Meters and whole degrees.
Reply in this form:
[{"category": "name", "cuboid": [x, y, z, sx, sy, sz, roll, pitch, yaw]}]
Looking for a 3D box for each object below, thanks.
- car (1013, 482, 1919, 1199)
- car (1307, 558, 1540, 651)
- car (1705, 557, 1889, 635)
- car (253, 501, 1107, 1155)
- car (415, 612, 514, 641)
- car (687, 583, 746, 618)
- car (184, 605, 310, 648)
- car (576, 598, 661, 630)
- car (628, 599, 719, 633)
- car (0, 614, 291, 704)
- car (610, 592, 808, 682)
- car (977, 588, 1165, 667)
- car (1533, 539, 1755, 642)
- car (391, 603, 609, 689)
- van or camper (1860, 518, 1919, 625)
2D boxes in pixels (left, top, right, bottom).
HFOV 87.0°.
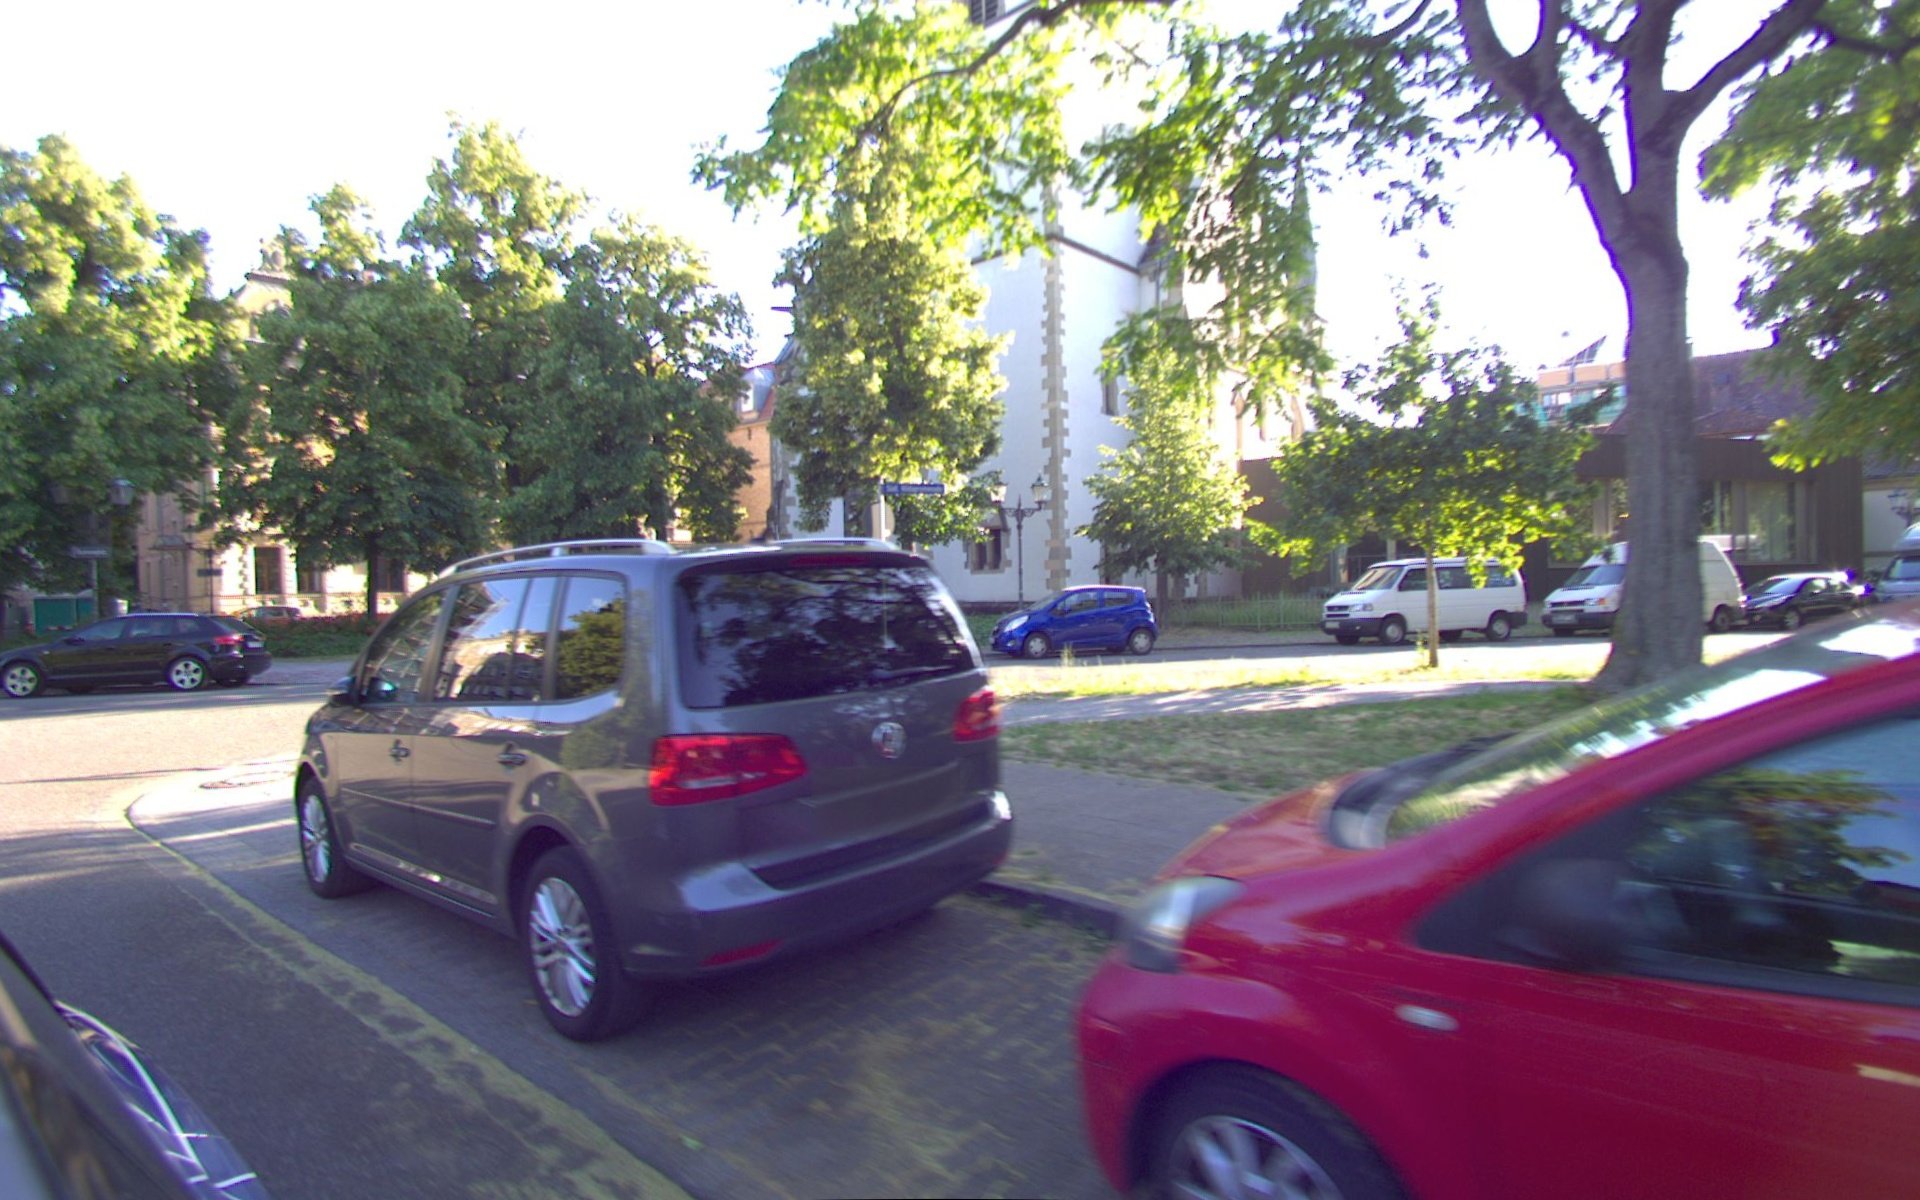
[{"category": "car", "cuboid": [1.856, 0.536, 1.494, 3.426, 1.434, 1.373, -1, 2, 43]}, {"category": "car", "cuboid": [10.837, 0.078, 23.748, 4.760, 1.961, 1.862, -2, 0, -13]}, {"category": "car", "cuboid": [22.284, -0.122, 26.972, 4.073, 1.900, 1.863, -2, 0, -19]}, {"category": "car", "cuboid": [-1.642, 0.574, 4.727, 4.320, 1.688, 1.782, -1, 2, 43]}, {"category": "car", "cuboid": [-25.222, 1.312, 51.606, 1.912, 1.287, 4.162, -1, 0, 41]}, {"category": "car", "cuboid": [-16.830, 0.054, 69.787, 4.218, 2.278, 1.866, -1, 0, 41]}, {"category": "car", "cuboid": [-31.158, 1.134, 44.295, 1.912, 1.668, 4.162, -1, 0, 41]}, {"category": "car", "cuboid": [-19.478, 0.766, 57.774, 1.999, 1.668, 4.162, -1, 0, 41]}, {"category": "car", "cuboid": [-14.779, 0.809, 52.377, 1.891, 1.668, 4.163, -1, 0, 41]}, {"category": "car", "cuboid": [-15.026, 1.049, 18.397, 4.421, 1.426, 1.835, -2, -2, -12]}, {"category": "car", "cuboid": [-4.967, 0.684, 20.193, 3.635, 1.591, 1.714, -2, 0, -13]}, {"category": "car", "cuboid": [2.360, 0.549, 21.811, 3.635, 1.512, 1.625, -2, 0, -13]}, {"category": "car", "cuboid": [17.242, -0.278, 25.529, 5.097, 2.373, 1.863, -2, 0, -18]}, {"category": "car", "cuboid": [-8.749, 0.855, 19.532, 3.546, 1.451, 1.621, -2, -1, -12]}, {"category": "van or camper", "cuboid": [29.153, -0.873, 28.868, 6.224, 2.930, 2.103, -2, 0, -15]}]
